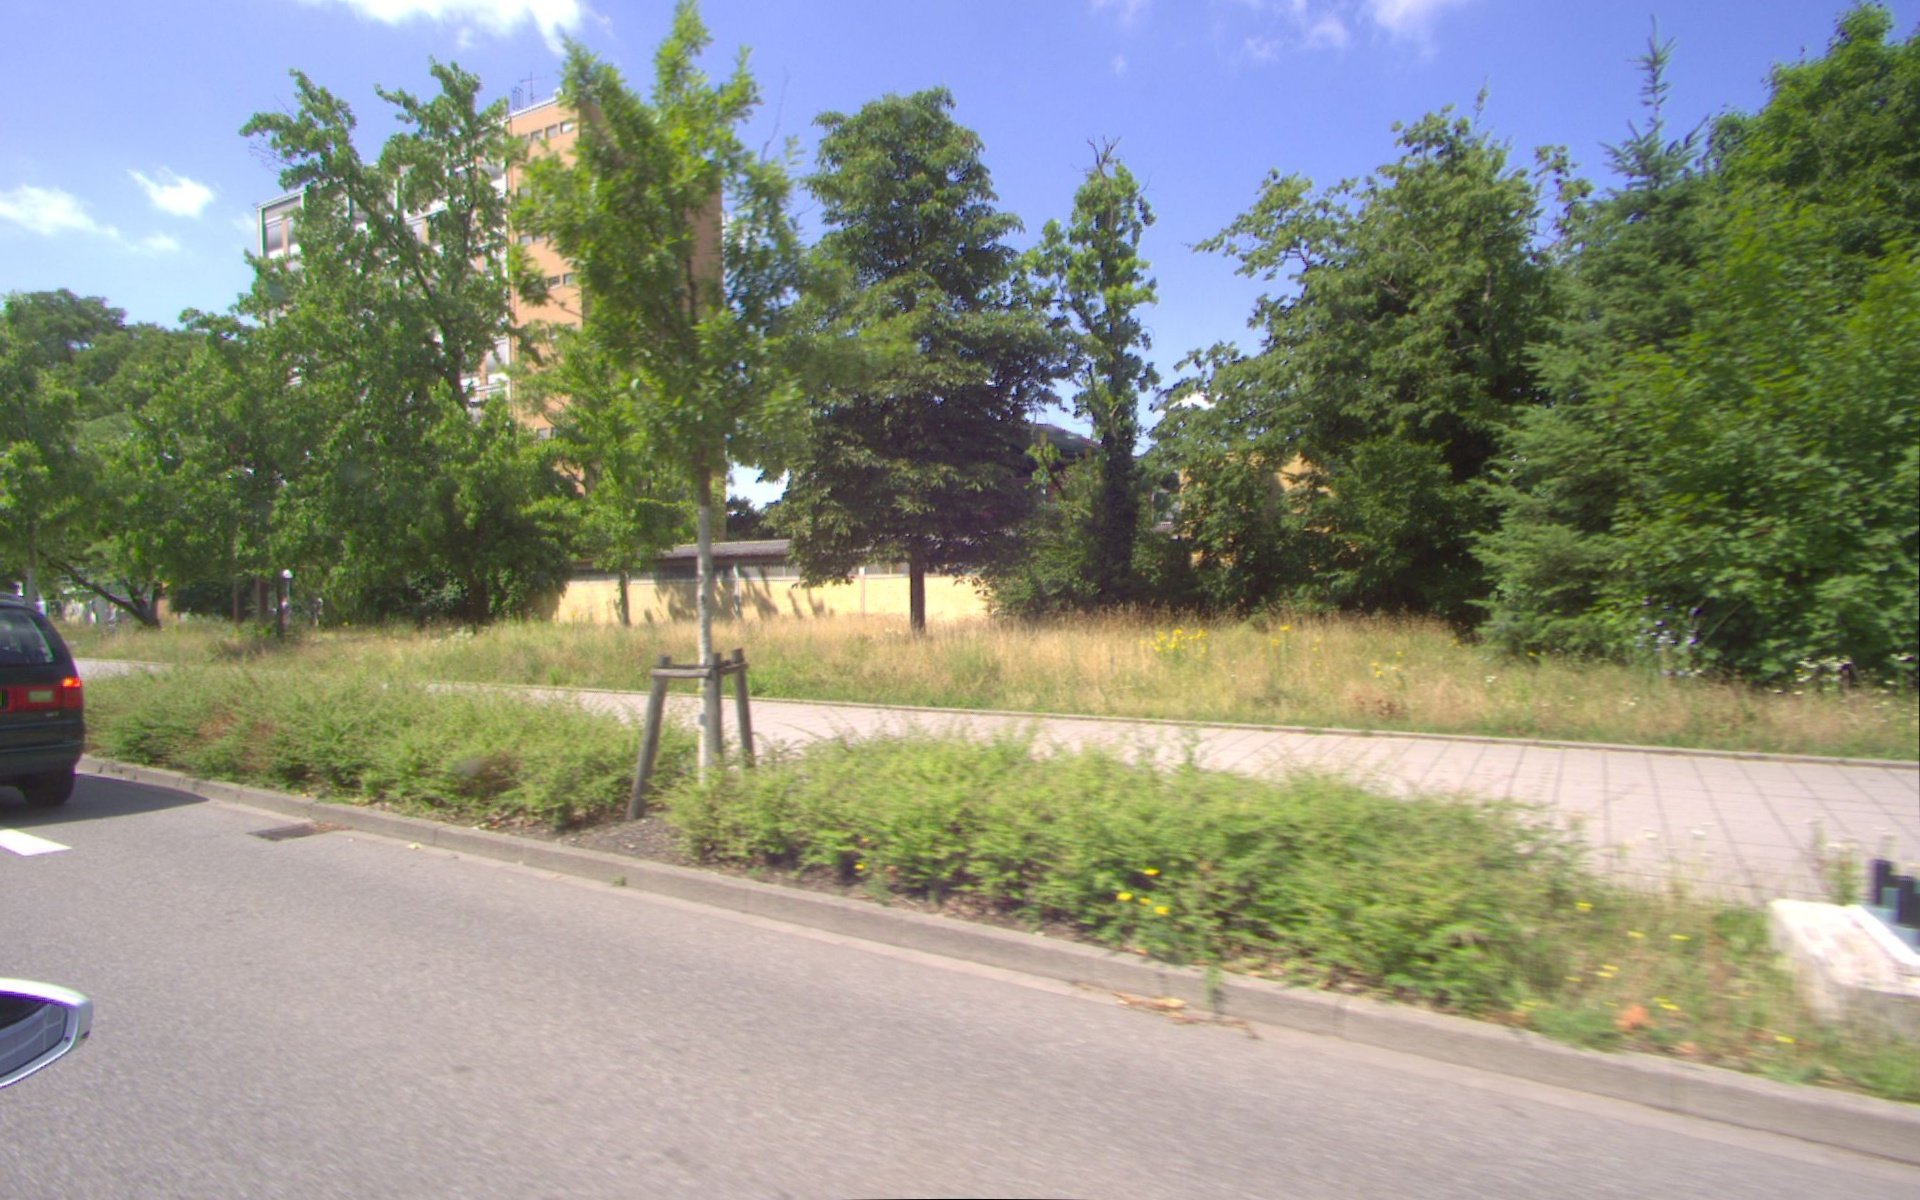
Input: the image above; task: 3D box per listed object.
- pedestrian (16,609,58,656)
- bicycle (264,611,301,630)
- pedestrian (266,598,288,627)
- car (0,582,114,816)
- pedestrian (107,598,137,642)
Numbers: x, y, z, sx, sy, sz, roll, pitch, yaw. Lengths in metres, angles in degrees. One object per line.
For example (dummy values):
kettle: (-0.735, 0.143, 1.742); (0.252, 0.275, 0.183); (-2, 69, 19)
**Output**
pedestrian: (-31.255, 1.076, 33.915); (0.823, 1.559, 0.843); (0, 1, 32)
bicycle: (-35.473, 1.071, 52.430); (1.557, 0.968, 0.482); (0, 0, -39)
pedestrian: (-35.653, 0.662, 52.273); (0.891, 1.491, 0.482); (0, 1, -39)
car: (-9.151, 0.751, 8.505); (4.325, 1.757, 1.809); (0, -1, 33)
pedestrian: (-40.119, 0.946, 47.925); (0.832, 2.085, 0.740); (0, 1, 16)
